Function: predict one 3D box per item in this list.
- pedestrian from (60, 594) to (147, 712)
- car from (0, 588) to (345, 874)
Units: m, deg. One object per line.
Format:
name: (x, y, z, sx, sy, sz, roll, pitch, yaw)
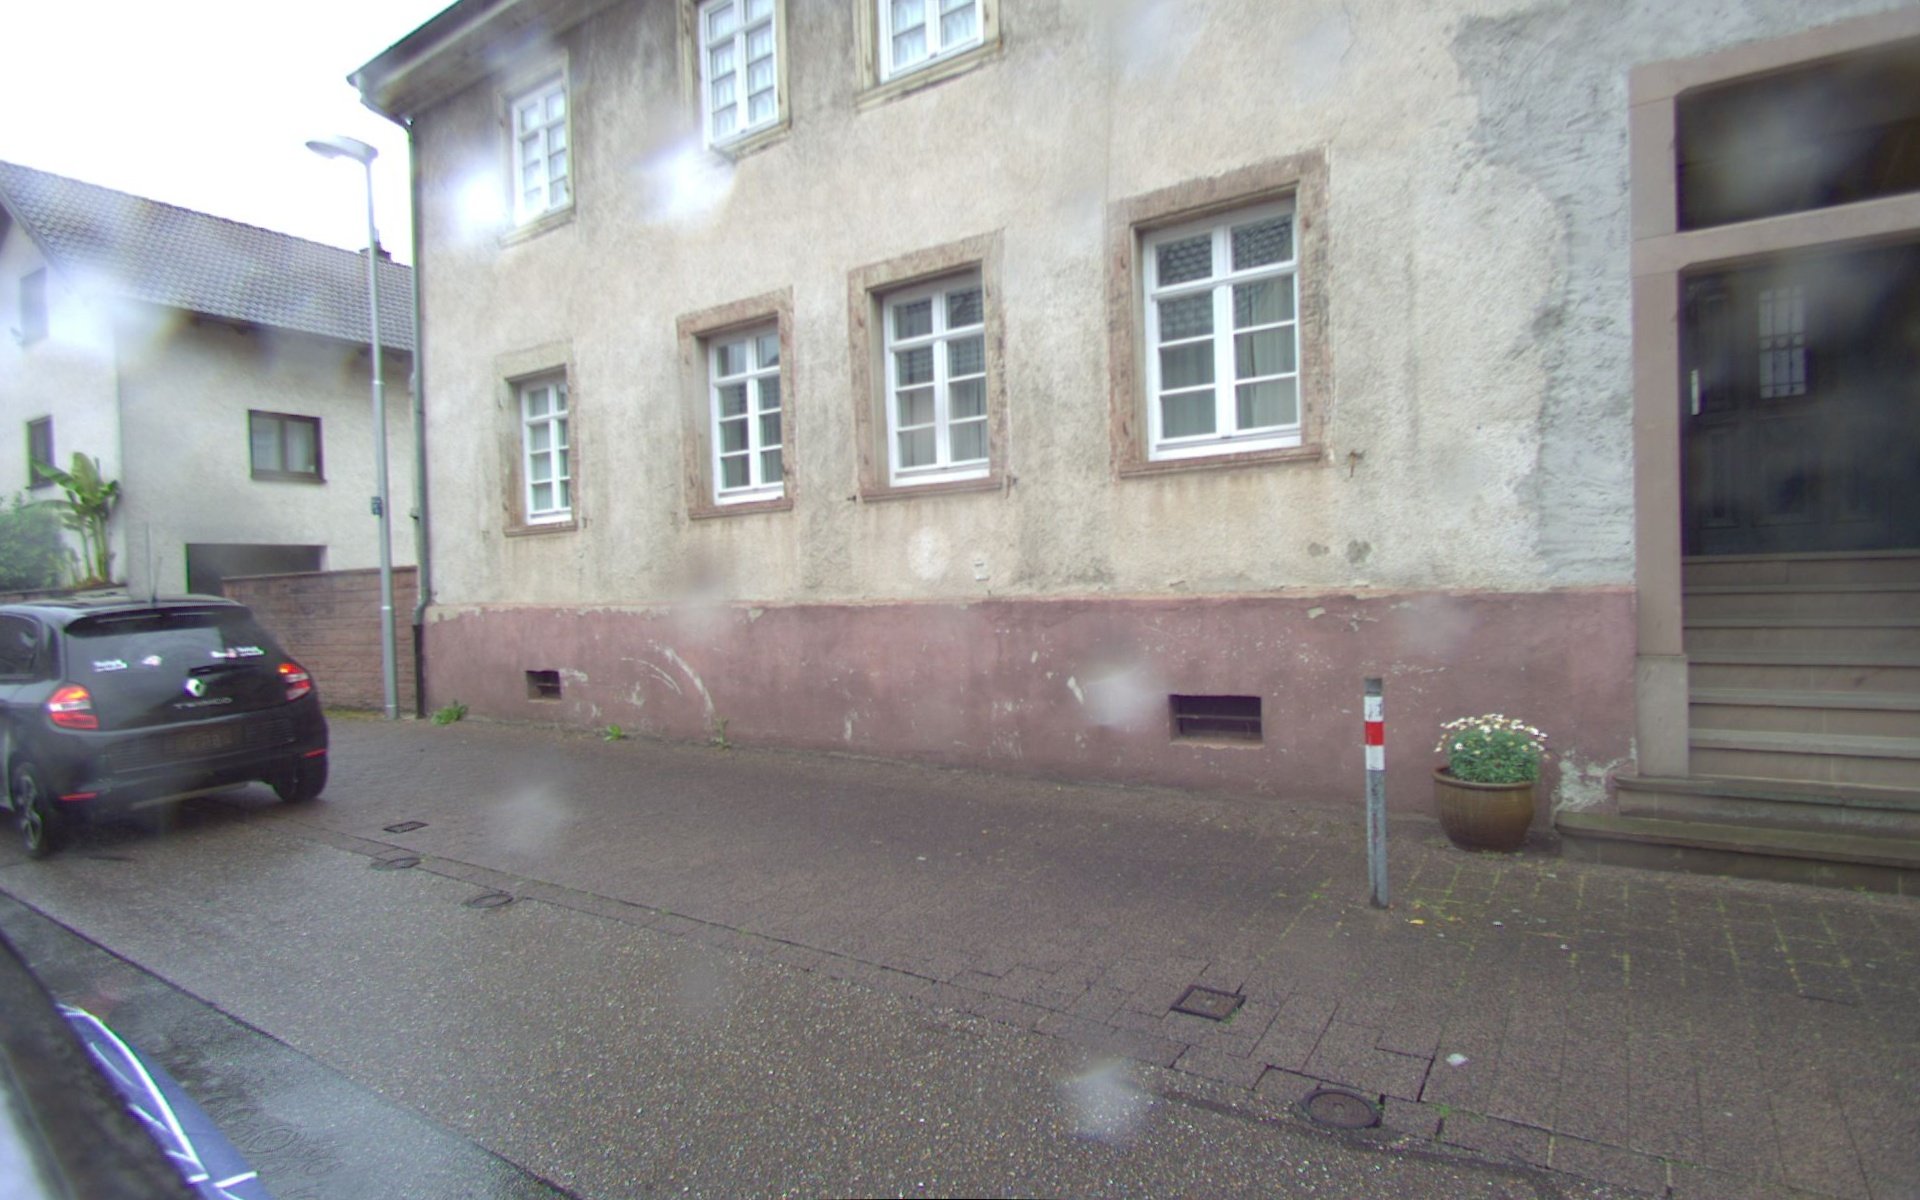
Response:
pedestrian: (-11.792, 0.717, 13.937, 0.829, 1.549, 0.568, -1, 2, 29)
car: (-6.165, 0.734, 7.184, 3.676, 1.524, 1.592, -1, 1, 33)
